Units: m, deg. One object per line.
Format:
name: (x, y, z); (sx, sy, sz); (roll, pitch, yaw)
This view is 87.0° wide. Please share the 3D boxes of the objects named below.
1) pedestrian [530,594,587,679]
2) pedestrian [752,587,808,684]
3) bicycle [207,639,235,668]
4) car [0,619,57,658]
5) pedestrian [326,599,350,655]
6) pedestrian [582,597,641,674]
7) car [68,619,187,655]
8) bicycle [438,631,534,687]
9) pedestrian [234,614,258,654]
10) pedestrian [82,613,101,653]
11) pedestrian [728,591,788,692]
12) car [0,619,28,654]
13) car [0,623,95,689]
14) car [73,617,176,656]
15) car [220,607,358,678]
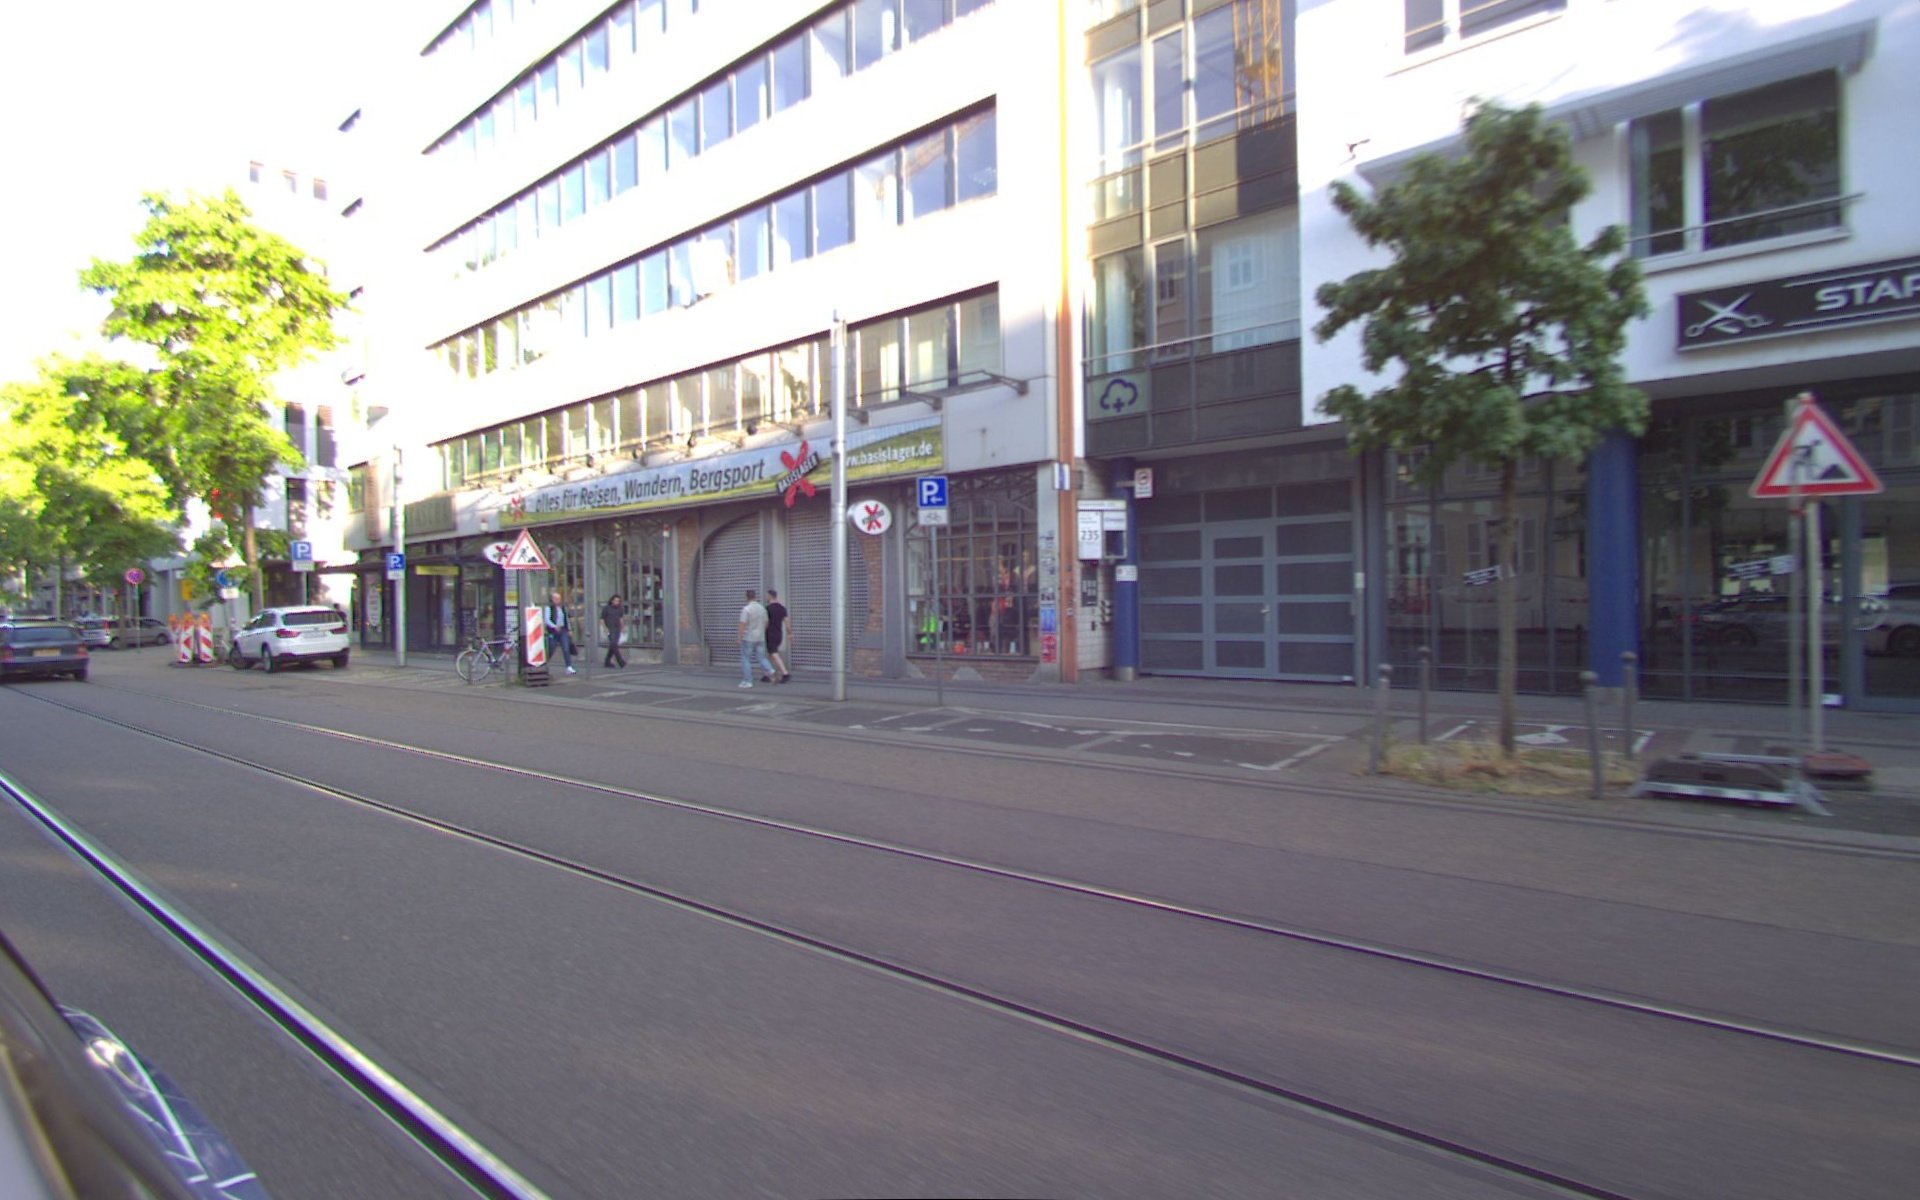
pedestrian: (-8.666, 0.768, 21.841); (0.831, 1.779, 0.842); (-2, -1, 38)
pedestrian: (-3.314, 0.641, 18.611); (0.808, 1.725, 0.620); (-1, 0, 45)
bicycle: (-23.532, 1.704, 32.232); (0.496, 0.843, 1.536); (-4, 2, -43)
car: (-41.935, 1.710, 45.158); (4.198, 1.624, 1.865); (-2, -3, 41)
pedestrian: (-22.796, 0.986, 37.091); (0.592, 2.029, 0.608); (-2, -1, 39)
pedestrian: (-8.151, 0.815, 23.679); (1.037, 1.708, 0.824); (-1, 2, 41)
car: (-41.152, 1.789, 50.130); (1.568, 1.423, 4.287); (-1, 2, 22)
bicycle: (-10.098, 1.236, 21.601); (1.724, 0.999, 0.479); (-5, 2, -42)
pedestrian: (-30.219, 1.429, 42.823); (0.611, 1.658, 0.716); (-2, -1, 42)
pedestrian: (-43.332, 1.635, 50.488); (0.723, 1.948, 0.647); (-2, -1, 43)
pedestrian: (-3.579, 0.717, 17.904); (0.829, 1.725, 0.634); (-1, 0, 45)
car: (-51.047, 1.924, 53.597); (4.198, 1.820, 2.013); (-2, -2, 41)
car: (-22.474, 1.301, 24.454); (4.525, 1.418, 1.760); (-1, -1, 41)
car: (-39.429, 1.695, 47.860); (1.770, 1.572, 3.390); (-1, 2, 11)
car: (-19.017, 1.160, 28.599); (4.741, 1.767, 1.973); (-2, 1, 40)
